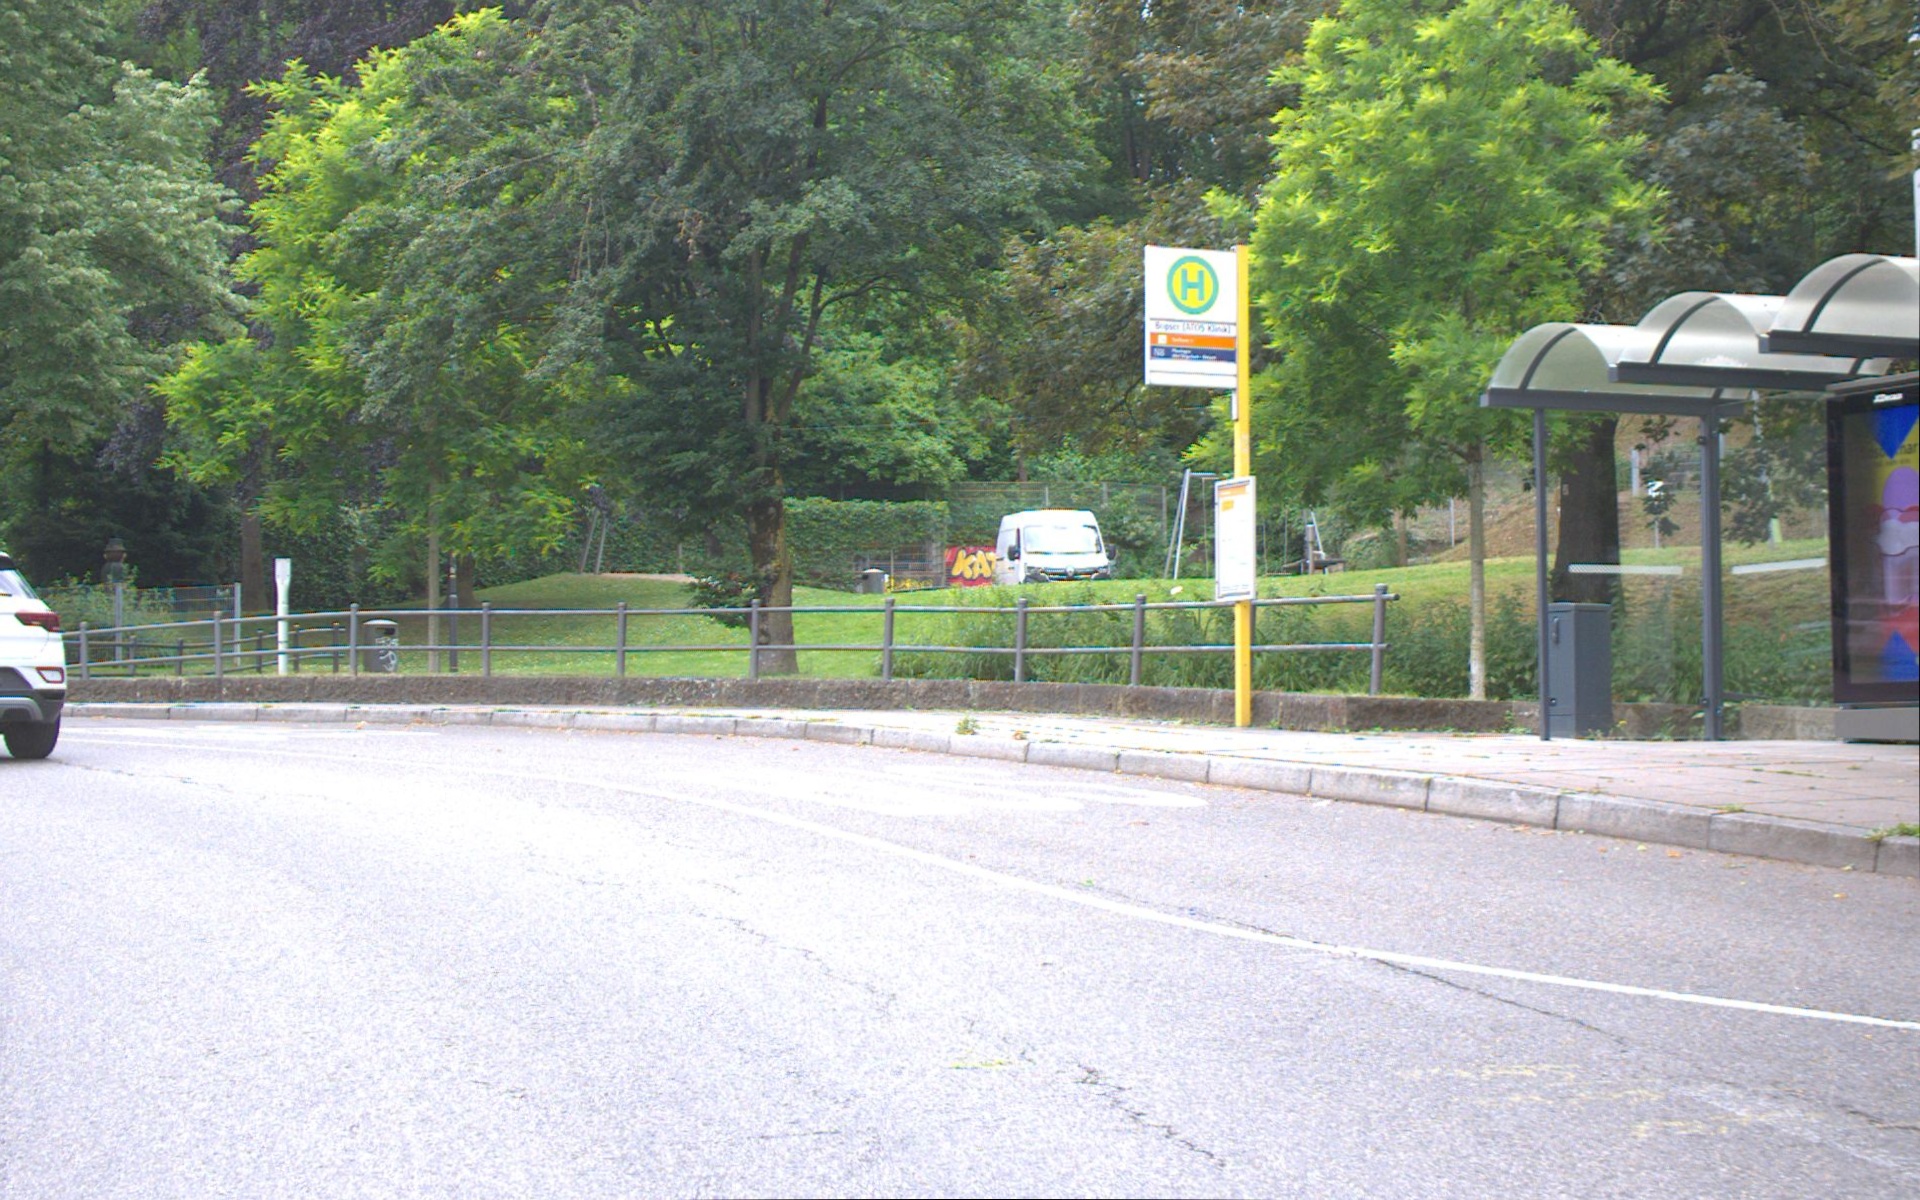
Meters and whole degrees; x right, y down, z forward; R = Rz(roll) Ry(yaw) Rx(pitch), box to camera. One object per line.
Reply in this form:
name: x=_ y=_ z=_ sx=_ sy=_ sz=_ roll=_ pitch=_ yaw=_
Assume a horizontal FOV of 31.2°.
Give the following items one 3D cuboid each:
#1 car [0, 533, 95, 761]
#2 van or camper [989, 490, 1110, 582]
car: x=-7.835 y=0.285 z=24.857 sx=1.865 sy=1.551 sz=3.894 roll=0 pitch=1 yaw=-34
van or camper: x=1.995 y=-1.461 z=78.162 sx=2.303 sy=2.007 sz=5.442 roll=0 pitch=1 yaw=-3
